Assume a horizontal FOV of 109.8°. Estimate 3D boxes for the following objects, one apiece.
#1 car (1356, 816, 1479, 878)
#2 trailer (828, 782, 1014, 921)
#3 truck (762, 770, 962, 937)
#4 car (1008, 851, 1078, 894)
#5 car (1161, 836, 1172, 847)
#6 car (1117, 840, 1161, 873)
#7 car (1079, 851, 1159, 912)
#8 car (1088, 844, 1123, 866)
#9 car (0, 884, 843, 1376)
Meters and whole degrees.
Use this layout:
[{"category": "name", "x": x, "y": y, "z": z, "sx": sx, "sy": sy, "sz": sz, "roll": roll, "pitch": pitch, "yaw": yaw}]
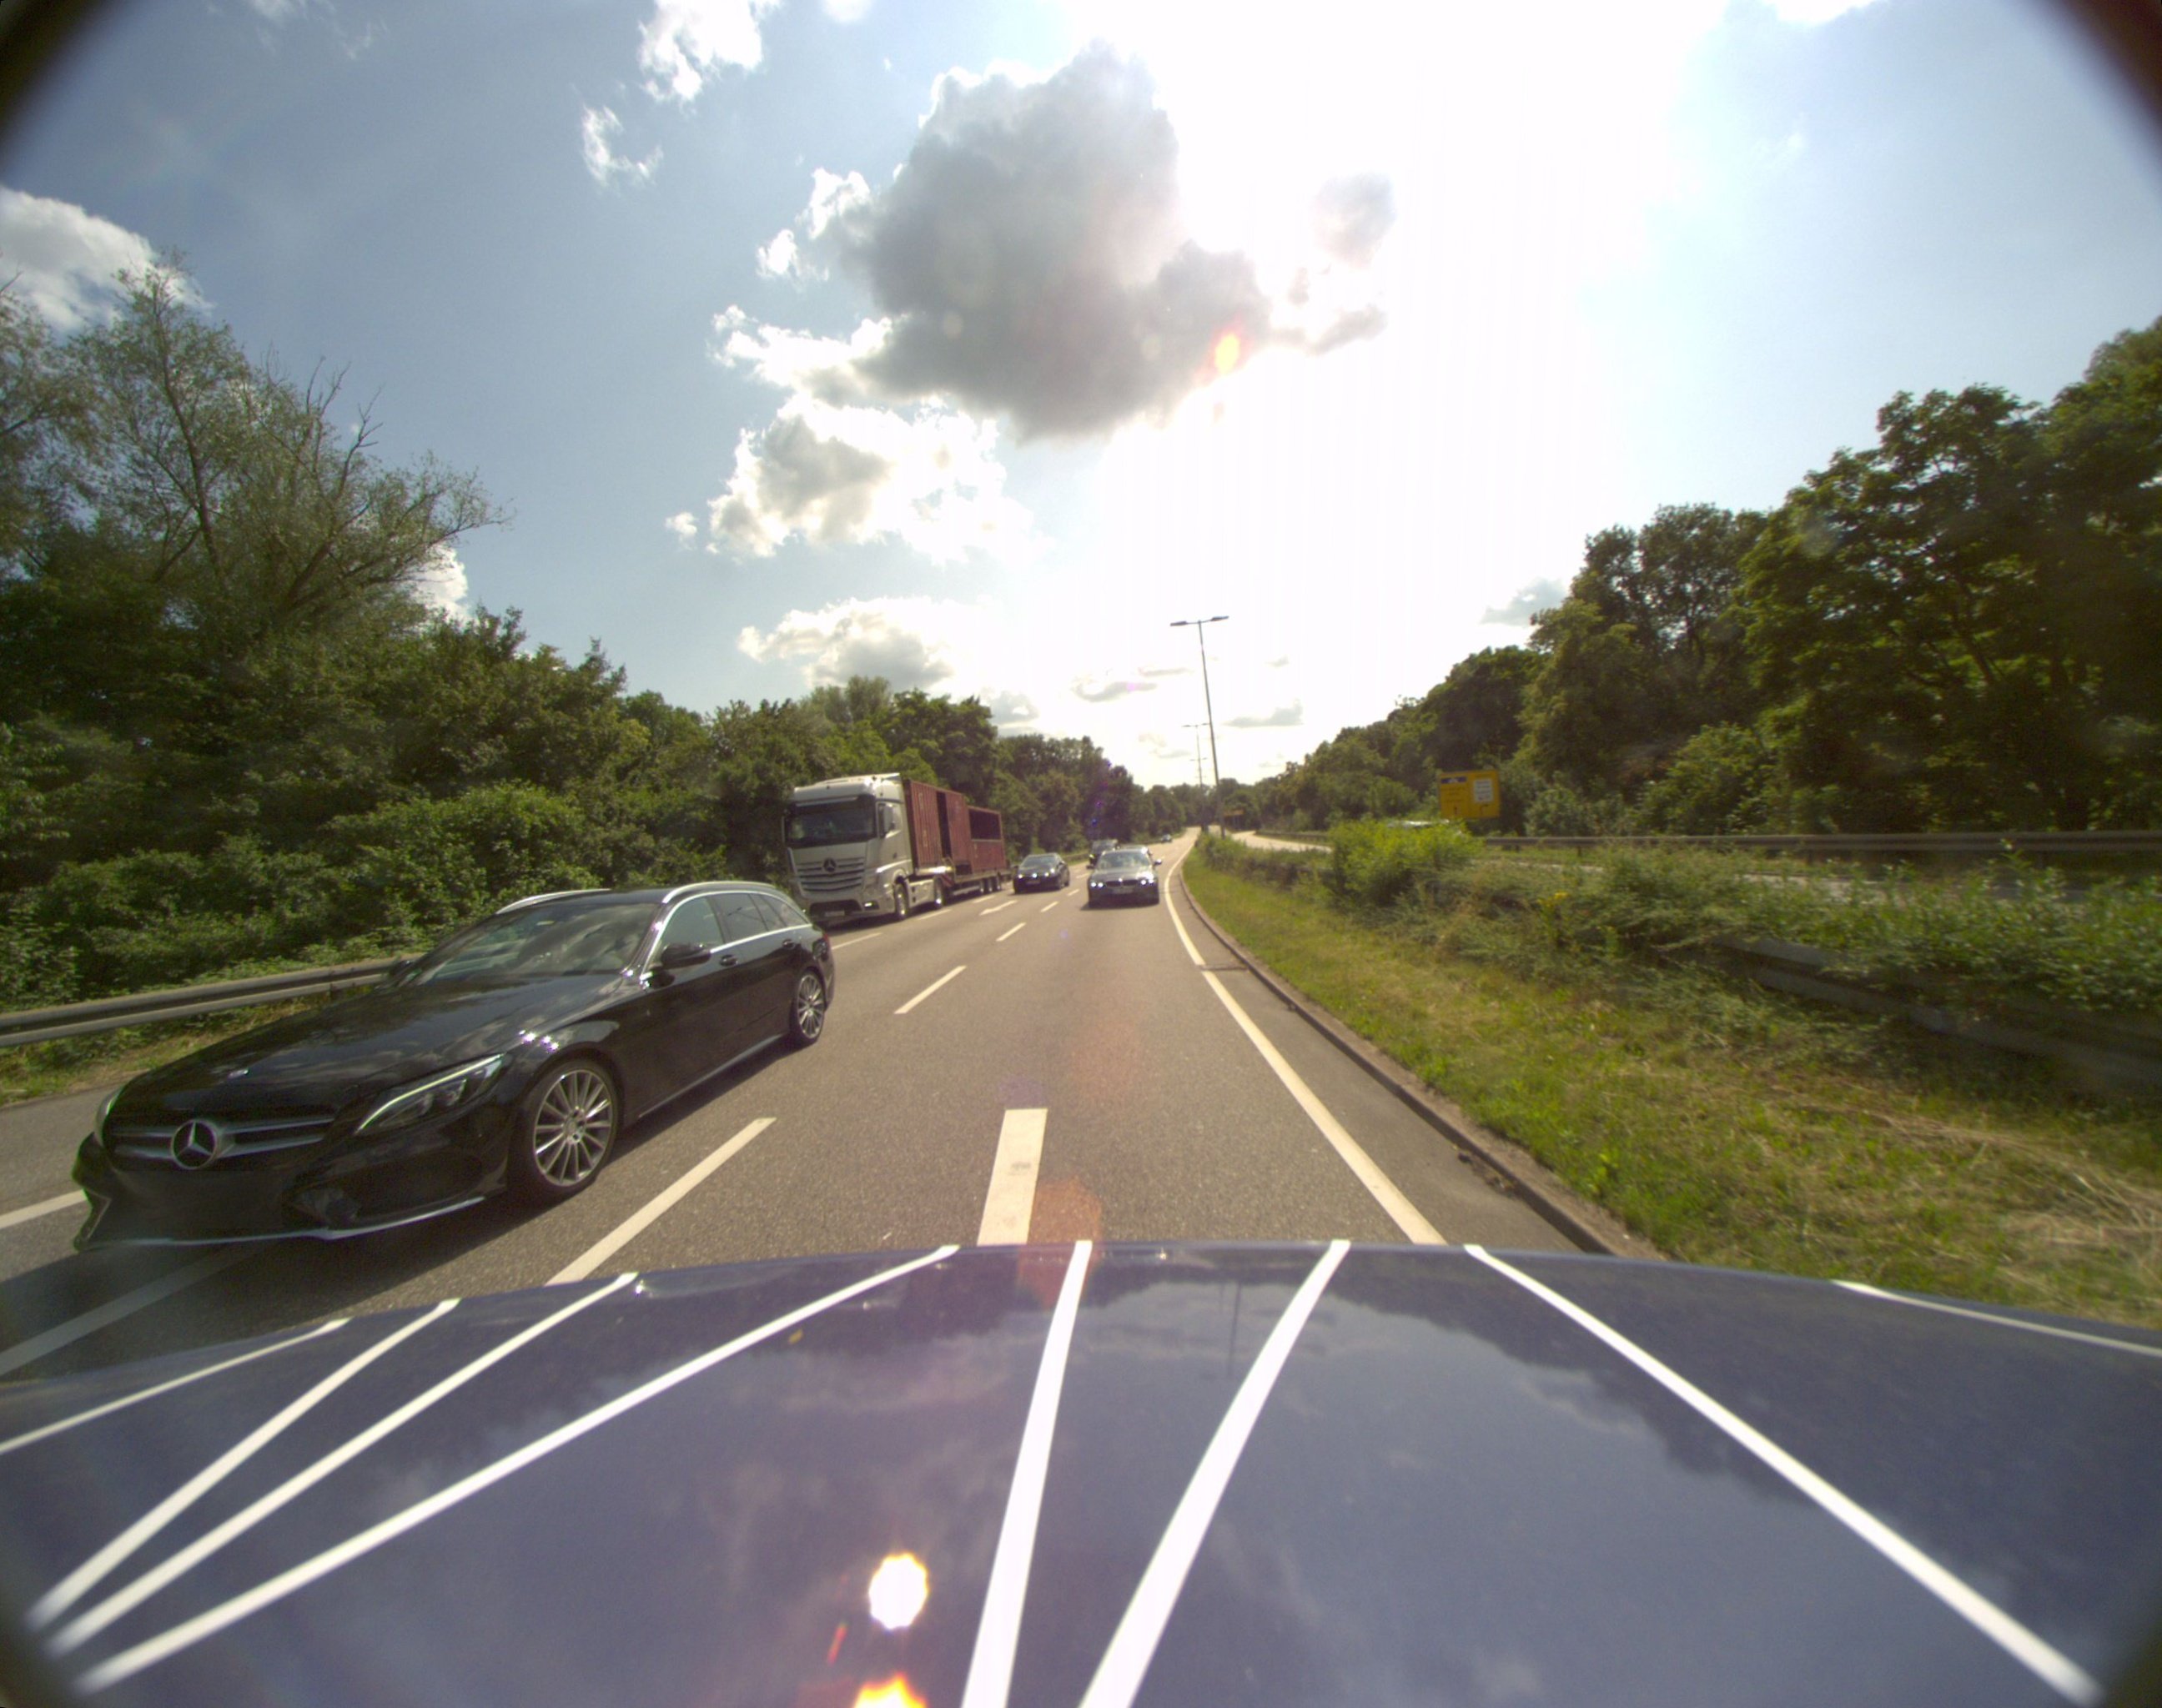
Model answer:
[{"category": "car", "x": 9.676, "y": -0.193, "z": 22.254, "sx": 1.714, "sy": 1.577, "sz": 4.281, "roll": -2, "pitch": 0, "yaw": 1}, {"category": "trailer", "x": -5.198, "y": -0.150, "z": 28.194, "sx": 2.777, "sy": 3.827, "sz": 12.325, "roll": -5, "pitch": 0, "yaw": 6}, {"category": "truck", "x": -5.861, "y": -0.037, "z": 21.814, "sx": 2.775, "sy": 3.823, "sz": 6.822, "roll": -5, "pitch": 0, "yaw": 6}, {"category": "car", "x": -1.408, "y": 0.683, "z": 29.871, "sx": 1.857, "sy": 1.403, "sz": 4.002, "roll": -4, "pitch": 0, "yaw": 9}, {"category": "car", "x": 16.387, "y": -2.414, "z": 145.030, "sx": 1.976, "sy": 2.002, "sz": 4.001, "roll": -3, "pitch": 1, "yaw": 7}, {"category": "car", "x": 2.961, "y": 0.093, "z": 38.077, "sx": 1.857, "sy": 1.403, "sz": 4.002, "roll": -4, "pitch": 0, "yaw": 9}, {"category": "car", "x": 1.079, "y": 0.664, "z": 20.381, "sx": 1.858, "sy": 1.354, "sz": 4.001, "roll": -3, "pitch": 0, "yaw": 5}, {"category": "car", "x": 1.776, "y": 0.031, "z": 53.634, "sx": 1.857, "sy": 1.403, "sz": 4.002, "roll": -4, "pitch": 0, "yaw": 9}, {"category": "car", "x": -3.237, "y": 1.077, "z": 4.851, "sx": 1.795, "sy": 1.427, "sz": 4.370, "roll": -4, "pitch": 1, "yaw": 2}]
